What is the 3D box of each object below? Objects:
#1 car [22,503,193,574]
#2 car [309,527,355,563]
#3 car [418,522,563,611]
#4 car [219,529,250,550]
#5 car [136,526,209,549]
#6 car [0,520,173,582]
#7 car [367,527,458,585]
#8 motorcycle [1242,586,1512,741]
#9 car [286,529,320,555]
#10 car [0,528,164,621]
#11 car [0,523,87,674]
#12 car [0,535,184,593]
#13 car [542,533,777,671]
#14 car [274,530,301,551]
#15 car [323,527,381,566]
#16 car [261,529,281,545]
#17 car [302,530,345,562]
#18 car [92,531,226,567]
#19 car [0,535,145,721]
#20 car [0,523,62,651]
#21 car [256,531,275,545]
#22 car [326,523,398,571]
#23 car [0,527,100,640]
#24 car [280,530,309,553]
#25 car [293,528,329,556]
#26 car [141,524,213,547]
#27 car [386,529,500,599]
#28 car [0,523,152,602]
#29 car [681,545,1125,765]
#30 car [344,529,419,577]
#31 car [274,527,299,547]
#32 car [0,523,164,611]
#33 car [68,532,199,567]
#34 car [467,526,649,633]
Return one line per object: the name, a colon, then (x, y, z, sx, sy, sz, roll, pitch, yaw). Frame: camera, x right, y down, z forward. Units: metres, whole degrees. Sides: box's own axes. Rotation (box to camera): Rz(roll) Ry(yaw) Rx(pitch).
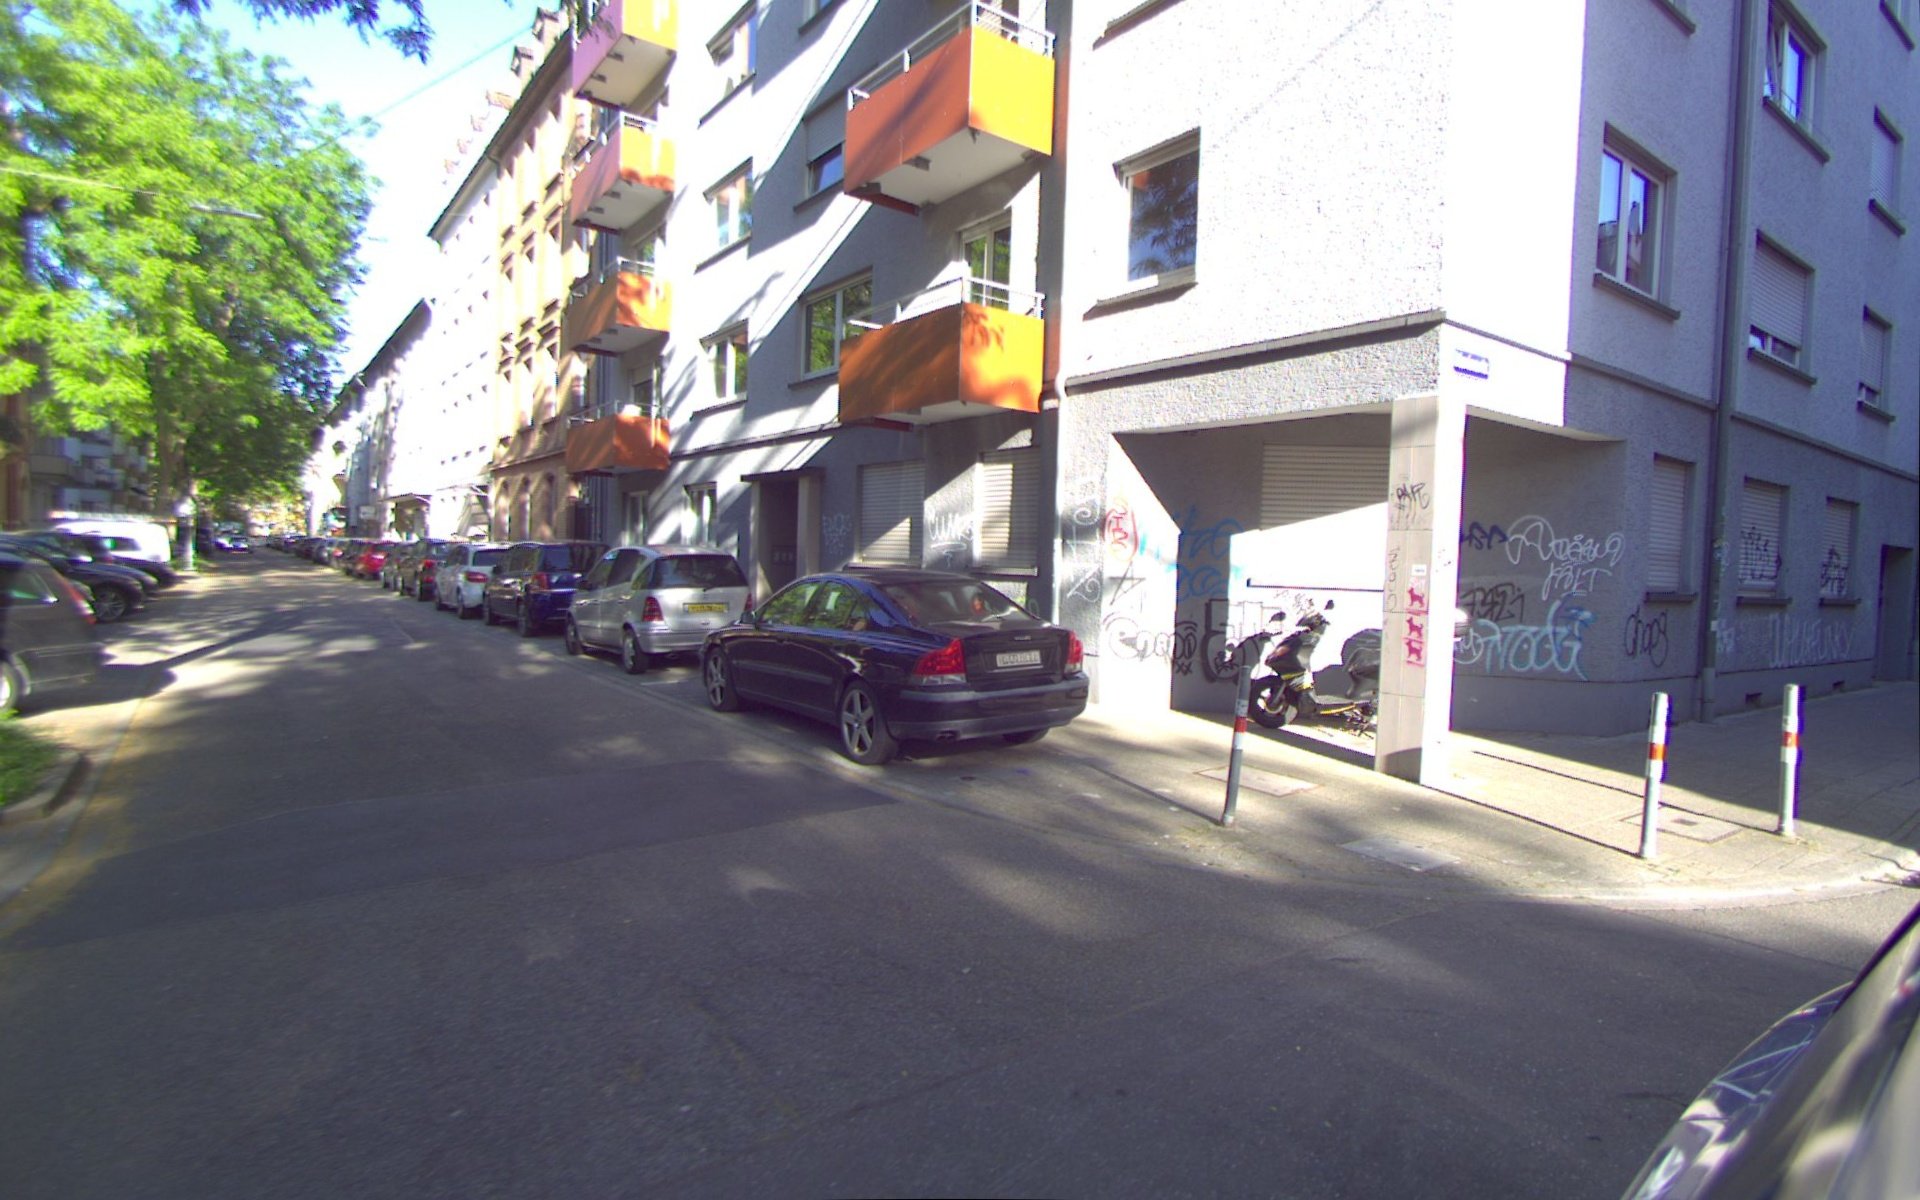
car: (-26.594, -1.880, 31.697, 1.759, 2.063, 3.734, 3, 3, 28)
car: (-33.119, -2.903, 53.351, 1.795, 1.815, 4.001, 0, 3, -36)
car: (-10.320, -0.743, 22.101, 1.964, 1.749, 3.998, 0, 2, -39)
car: (-60.717, -5.104, 84.711, 1.962, 1.648, 4.516, 0, 3, -34)
car: (-61.315, -4.869, 78.899, 4.428, 1.649, 2.001, 0, 3, -36)
car: (-24.982, -1.382, 28.876, 1.576, 1.637, 3.723, 3, 3, 35)
car: (-17.123, -1.385, 31.564, 1.963, 1.638, 4.000, 0, 3, -36)
motorcycle: (3.707, 0.536, 9.200, 2.123, 1.242, 0.741, 1, 4, 12)
car: (-45.674, -4.045, 70.357, 1.795, 1.745, 4.048, 0, 3, -36)
car: (-16.426, -0.475, 17.587, 1.708, 1.539, 3.730, 3, 3, 30)
car: (-11.725, -0.036, 10.537, 1.711, 1.637, 3.723, 3, 3, 35)
car: (-21.355, -0.868, 24.554, 1.576, 1.297, 3.723, 3, 3, 35)
car: (-4.316, -0.115, 14.139, 1.836, 1.637, 3.999, -3, 5, -37)
car: (-58.498, -5.192, 87.985, 1.795, 1.745, 4.048, 0, 3, -36)
car: (-27.690, -2.451, 46.051, 1.962, 1.638, 4.254, 0, 3, -35)
car: (-78.367, -7.139, 115.112, 1.795, 1.745, 4.048, 0, 3, -36)
car: (-36.367, -3.120, 57.801, 1.795, 1.745, 4.048, 0, 3, -36)
car: (-32.451, -2.063, 41.073, 1.784, 1.312, 3.950, 4, 3, 35)
car: (-9.502, 0.262, 7.634, 1.782, 1.571, 5.070, 2, 3, 20)
car: (-13.625, -0.183, 12.353, 1.711, 1.637, 3.723, 3, 3, 35)
car: (-85.538, -7.644, 124.635, 1.795, 1.745, 4.048, 0, 3, -36)
car: (-24.268, -2.172, 41.015, 1.963, 1.829, 4.519, 0, 3, -38)
car: (-15.081, -0.267, 14.652, 1.711, 1.637, 3.723, 3, 3, 35)
car: (-54.926, -4.833, 83.506, 1.795, 1.745, 4.048, 0, 3, -36)
car: (-42.644, -3.825, 66.474, 1.795, 1.745, 4.048, 0, 3, -36)
car: (-62.709, -5.147, 81.138, 4.428, 1.649, 2.001, 0, 3, -36)
car: (-13.955, -0.993, 27.196, 1.964, 1.718, 3.998, 0, 3, -39)
car: (-20.114, -0.832, 21.964, 1.711, 1.637, 3.723, 3, 3, 35)
car: (-0.773, 0.263, 8.992, 1.816, 1.405, 4.362, 0, 3, -37)
car: (-21.518, -1.763, 37.576, 1.963, 1.638, 4.000, 0, 3, -36)
car: (-62.603, -5.841, 94.031, 1.795, 1.745, 4.048, 0, 3, -36)
car: (-18.160, -0.672, 19.829, 1.711, 1.637, 3.723, 3, 3, 35)
car: (-34.481, -2.085, 42.305, 1.784, 1.312, 3.950, 4, 3, 35)
car: (-7.413, -0.475, 18.446, 1.965, 1.681, 3.998, -4, 5, -38)
